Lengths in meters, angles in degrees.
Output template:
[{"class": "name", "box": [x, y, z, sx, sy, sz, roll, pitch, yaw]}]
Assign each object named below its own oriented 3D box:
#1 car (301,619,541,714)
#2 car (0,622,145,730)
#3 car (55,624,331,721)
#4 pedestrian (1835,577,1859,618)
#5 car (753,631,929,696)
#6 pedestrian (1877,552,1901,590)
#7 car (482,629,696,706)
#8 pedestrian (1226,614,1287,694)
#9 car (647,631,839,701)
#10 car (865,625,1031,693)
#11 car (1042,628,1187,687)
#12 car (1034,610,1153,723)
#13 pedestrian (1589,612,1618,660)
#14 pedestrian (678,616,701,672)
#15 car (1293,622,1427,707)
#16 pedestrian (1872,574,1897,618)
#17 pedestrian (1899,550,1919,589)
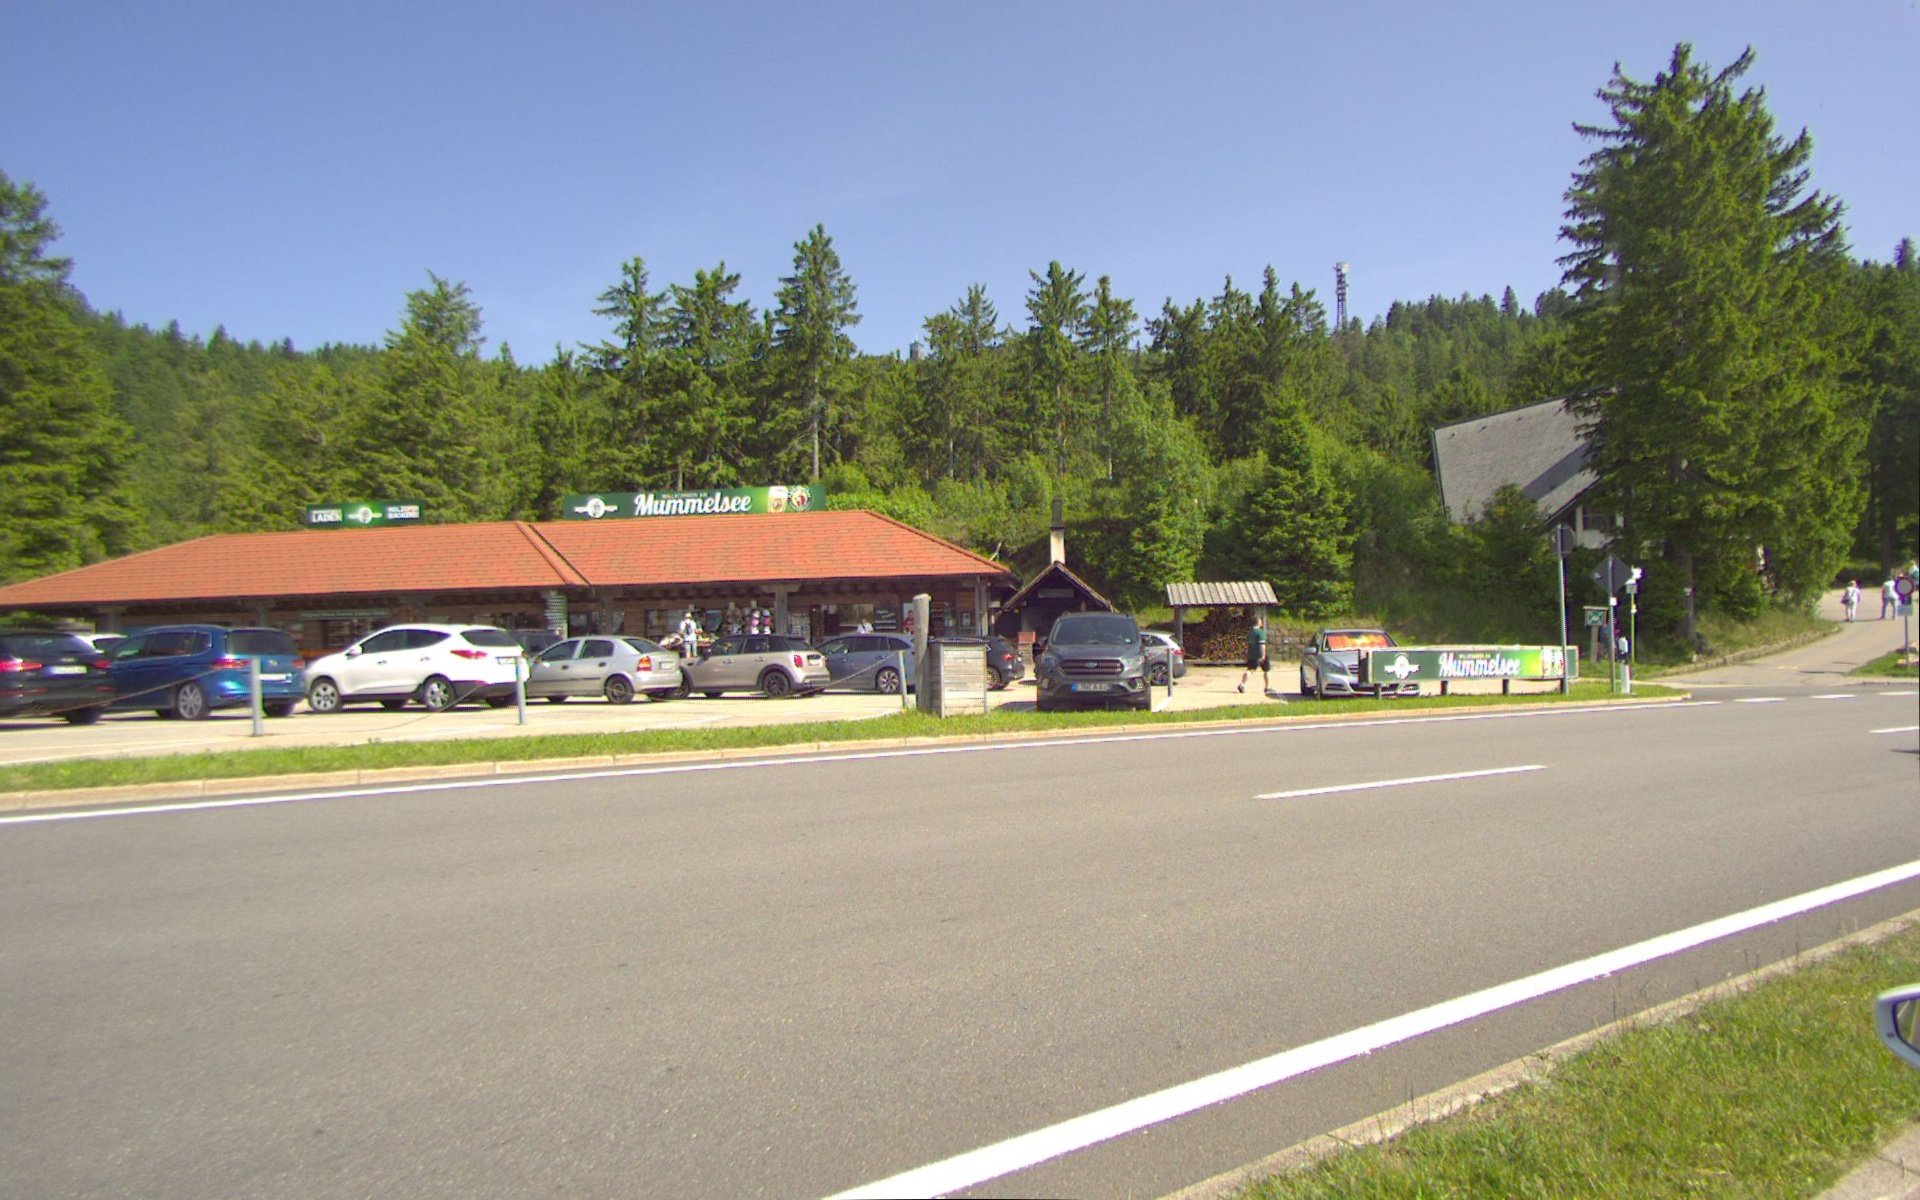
[{"class": "car", "box": [-10.480, 1.307, 19.630, 3.949, 1.693, 1.778, -2, -3, 14]}, {"class": "car", "box": [-15.672, 1.214, 16.207, 3.920, 1.594, 2.001, -2, -2, 15]}, {"class": "car", "box": [-13.881, 1.296, 18.256, 3.920, 1.594, 2.001, -2, -2, 15]}, {"class": "pedestrian", "box": [37.510, -0.103, 42.484, 0.637, 1.688, 0.648, 2, -3, -37]}, {"class": "car", "box": [-2.886, 1.557, 24.597, 3.920, 1.438, 1.686, -2, -3, 16]}, {"class": "pedestrian", "box": [51.531, -1.612, 55.732, 0.932, 2.040, 0.791, -1, -1, -39]}, {"class": "car", "box": [-7.869, 1.445, 21.404, 3.944, 1.487, 1.778, -2, -3, 14]}, {"class": "pedestrian", "box": [6.803, 1.224, 23.067, 0.949, 1.757, 0.892, -1, -1, -31]}, {"class": "car", "box": [-4.883, 1.490, 22.728, 3.920, 1.438, 1.686, -2, -3, 16]}, {"class": "car", "box": [-0.285, 1.552, 26.603, 3.920, 1.639, 2.001, -2, -1, 17]}, {"class": "car", "box": [4.383, 1.616, 28.594, 3.919, 1.514, 1.686, -2, 0, 10]}, {"class": "car", "box": [2.320, 1.047, 17.079, 1.753, 1.655, 4.214, 0, -2, 9]}, {"class": "pedestrian", "box": [21.483, 1.203, 33.550, 0.546, 1.553, 0.574, -1, -1, -31]}, {"class": "pedestrian", "box": [-9.153, 1.482, 33.987, 0.517, 1.898, 0.547, 0, -1, 13]}, {"class": "car", "box": [7.706, 1.211, 19.728, 1.708, 1.460, 3.973, -2, -2, 11]}, {"class": "pedestrian", "box": [38.723, -0.156, 42.090, 0.637, 1.822, 0.648, 2, -3, -37]}, {"class": "pedestrian", "box": [51.431, -1.622, 54.277, 0.846, 2.040, 0.809, -1, -1, -39]}]
